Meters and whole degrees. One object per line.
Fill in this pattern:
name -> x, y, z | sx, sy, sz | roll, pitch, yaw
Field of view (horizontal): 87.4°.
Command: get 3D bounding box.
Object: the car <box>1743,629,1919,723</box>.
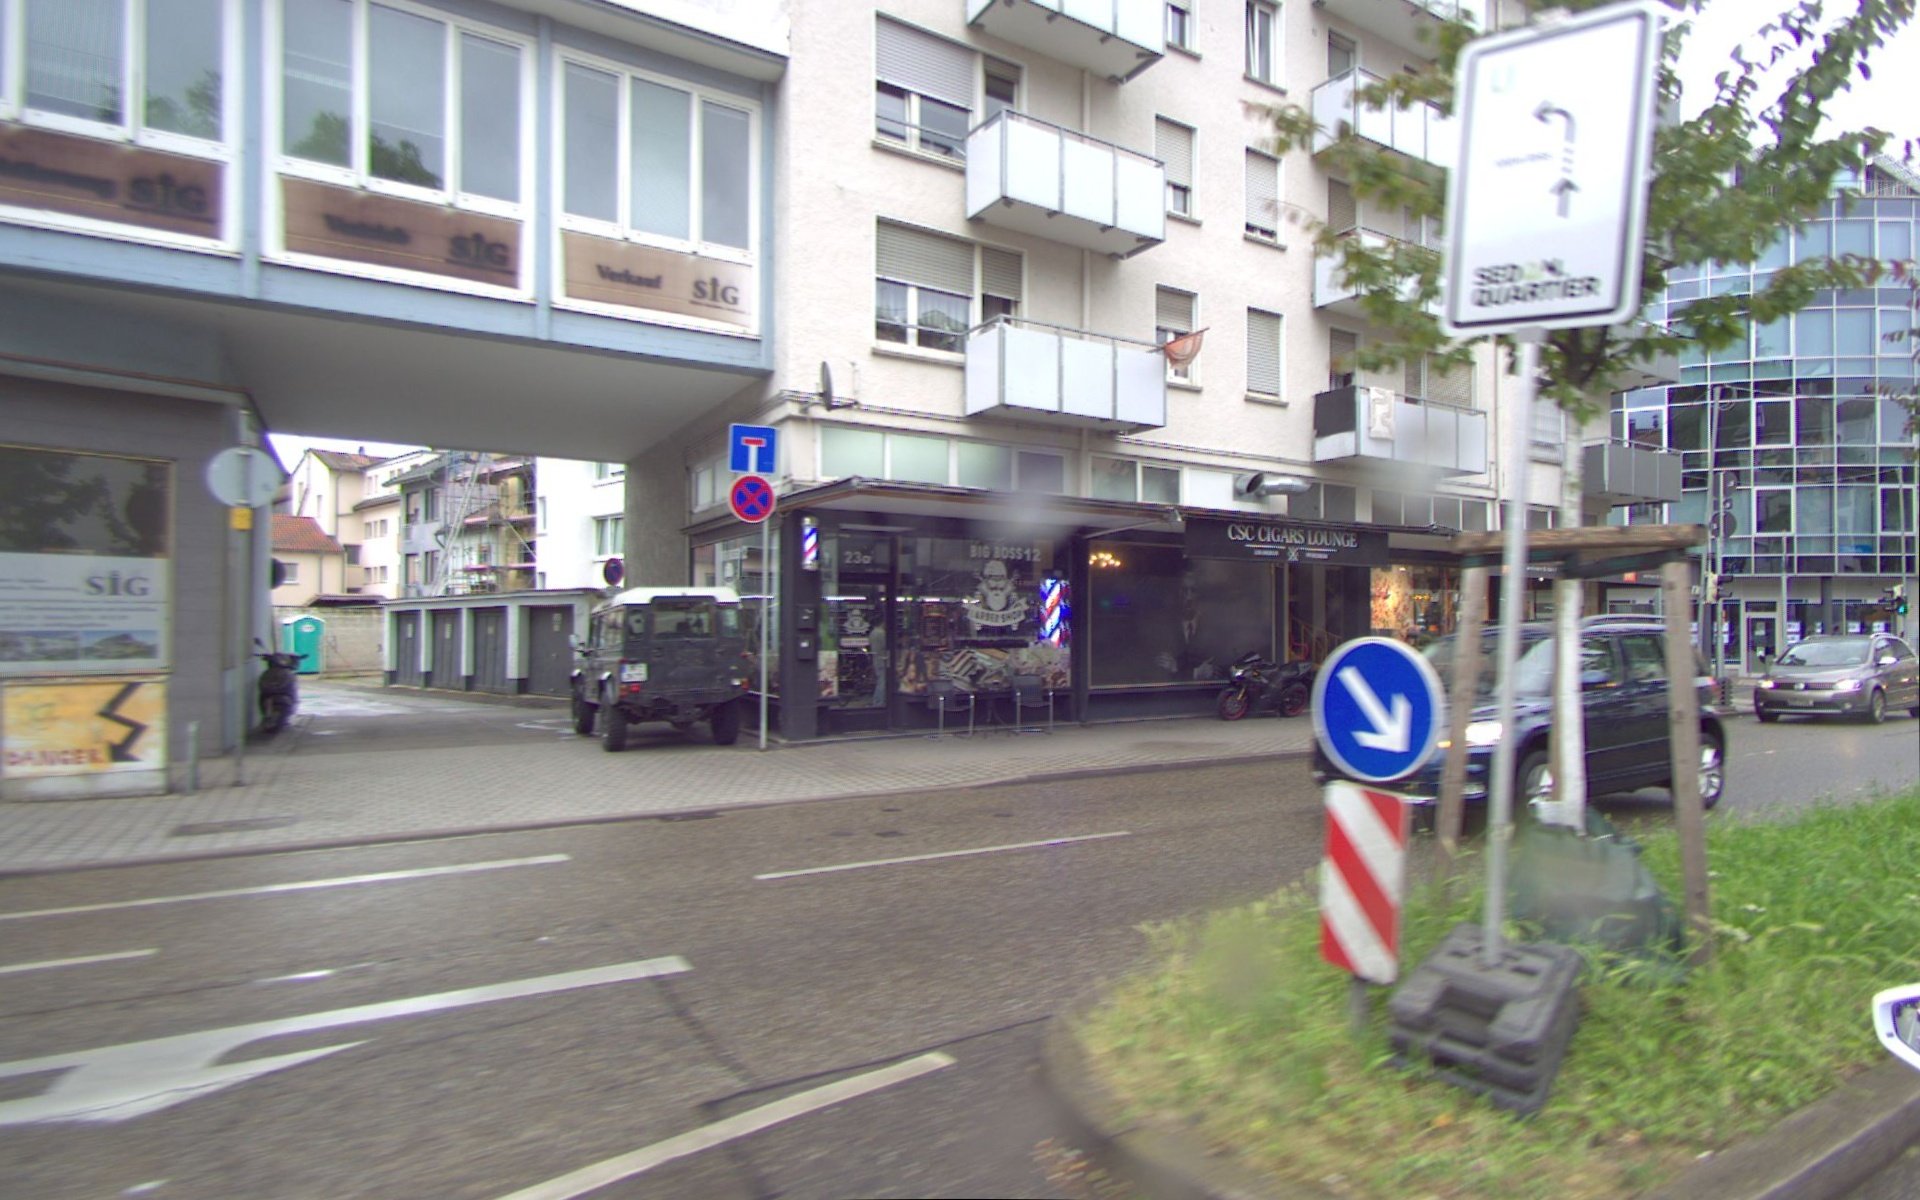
car -> 16.629, 1.399, 18.965 | 3.893, 1.612, 1.624 | 1, -4, -32

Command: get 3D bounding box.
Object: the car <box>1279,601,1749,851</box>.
car -> 4.800, 0.937, 8.578 | 4.049, 1.682, 1.676 | 1, -4, -31

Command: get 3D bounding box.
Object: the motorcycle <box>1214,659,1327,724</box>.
motorcycle -> 5.286, 1.527, 17.026 | 2.111, 1.008, 0.523 | 1, 0, -30

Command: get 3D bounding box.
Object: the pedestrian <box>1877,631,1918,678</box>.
pedestrian -> 32.674, 1.895, 35.033 | 0.768, 1.611, 0.763 | -1, -3, 23

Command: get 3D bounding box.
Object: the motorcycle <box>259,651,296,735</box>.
motorcycle -> -10.354, 1.384, 15.250 | 0.383, 1.194, 1.354 | 1, -2, -32

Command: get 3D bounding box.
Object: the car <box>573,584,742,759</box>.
car -> -4.331, 0.911, 14.008 | 1.560, 2.061, 3.949 | 1, -2, -27
